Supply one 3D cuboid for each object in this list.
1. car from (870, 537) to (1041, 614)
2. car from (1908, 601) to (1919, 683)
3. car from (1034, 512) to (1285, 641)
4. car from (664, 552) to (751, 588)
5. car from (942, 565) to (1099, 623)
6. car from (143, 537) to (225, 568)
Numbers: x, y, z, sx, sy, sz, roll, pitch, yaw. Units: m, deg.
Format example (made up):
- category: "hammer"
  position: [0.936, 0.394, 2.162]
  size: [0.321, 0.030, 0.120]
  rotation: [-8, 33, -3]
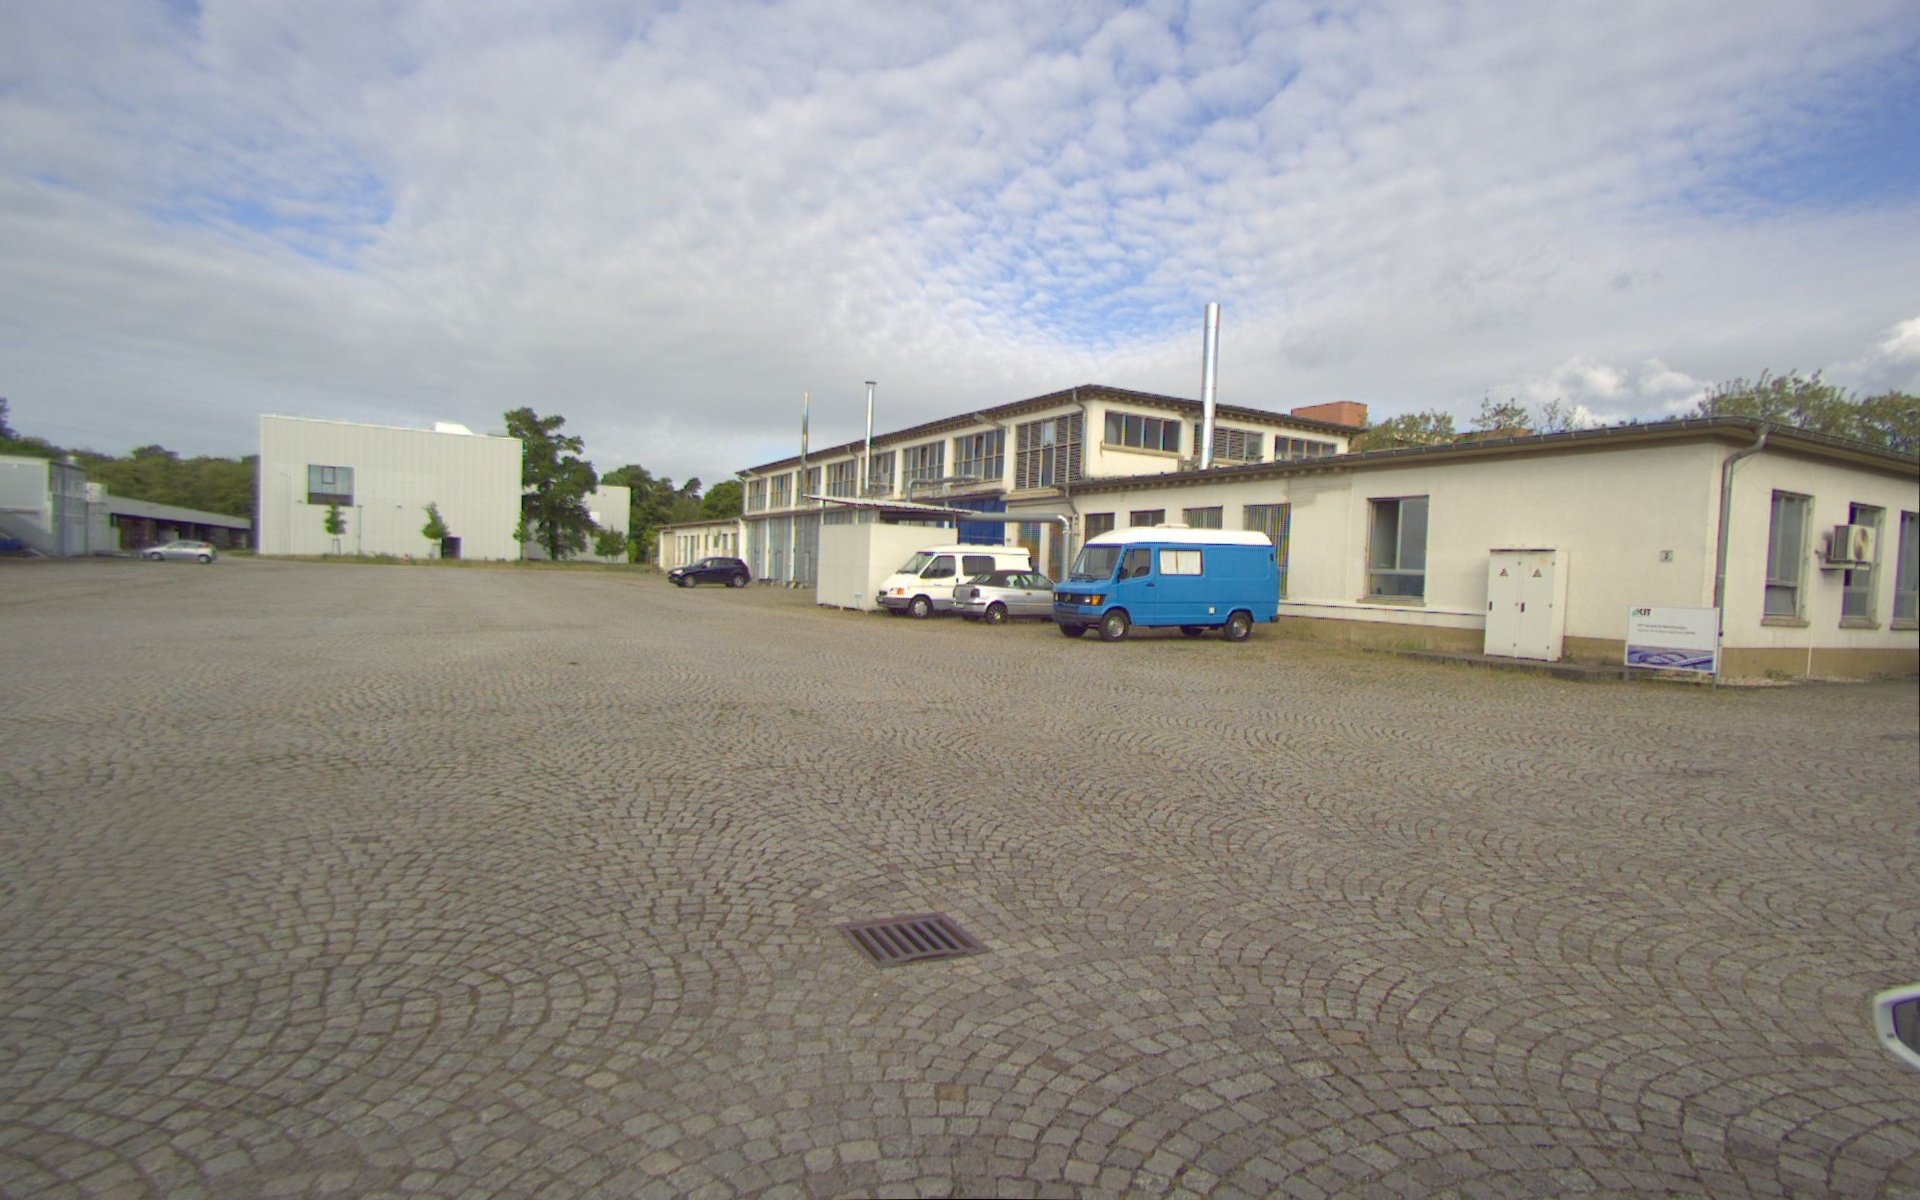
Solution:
- category: "car"
  position: [-0.131, -0.698, 29.667]
  size: [4.623, 2.138, 1.987]
  rotation: [0, 2, -26]
- category: "car"
  position: [19.902, 0.848, 18.728]
  size: [4.754, 1.481, 1.915]
  rotation: [1, 2, -30]
- category: "car"
  position: [4.467, -0.493, 22.371]
  size: [5.325, 2.617, 1.987]
  rotation: [0, 2, -26]
- category: "car"
  position: [-13.448, -1.566, 53.535]
  size: [4.106, 1.667, 1.983]
  rotation: [2, 0, -31]
- category: "car"
  position: [1.639, -0.150, 27.157]
  size: [3.948, 1.427, 1.626]
  rotation: [1, 2, -27]
- category: "car"
  position: [-53.647, -3.284, 69.537]
  size: [4.260, 1.973, 1.983]
  rotation: [1, 2, -32]
